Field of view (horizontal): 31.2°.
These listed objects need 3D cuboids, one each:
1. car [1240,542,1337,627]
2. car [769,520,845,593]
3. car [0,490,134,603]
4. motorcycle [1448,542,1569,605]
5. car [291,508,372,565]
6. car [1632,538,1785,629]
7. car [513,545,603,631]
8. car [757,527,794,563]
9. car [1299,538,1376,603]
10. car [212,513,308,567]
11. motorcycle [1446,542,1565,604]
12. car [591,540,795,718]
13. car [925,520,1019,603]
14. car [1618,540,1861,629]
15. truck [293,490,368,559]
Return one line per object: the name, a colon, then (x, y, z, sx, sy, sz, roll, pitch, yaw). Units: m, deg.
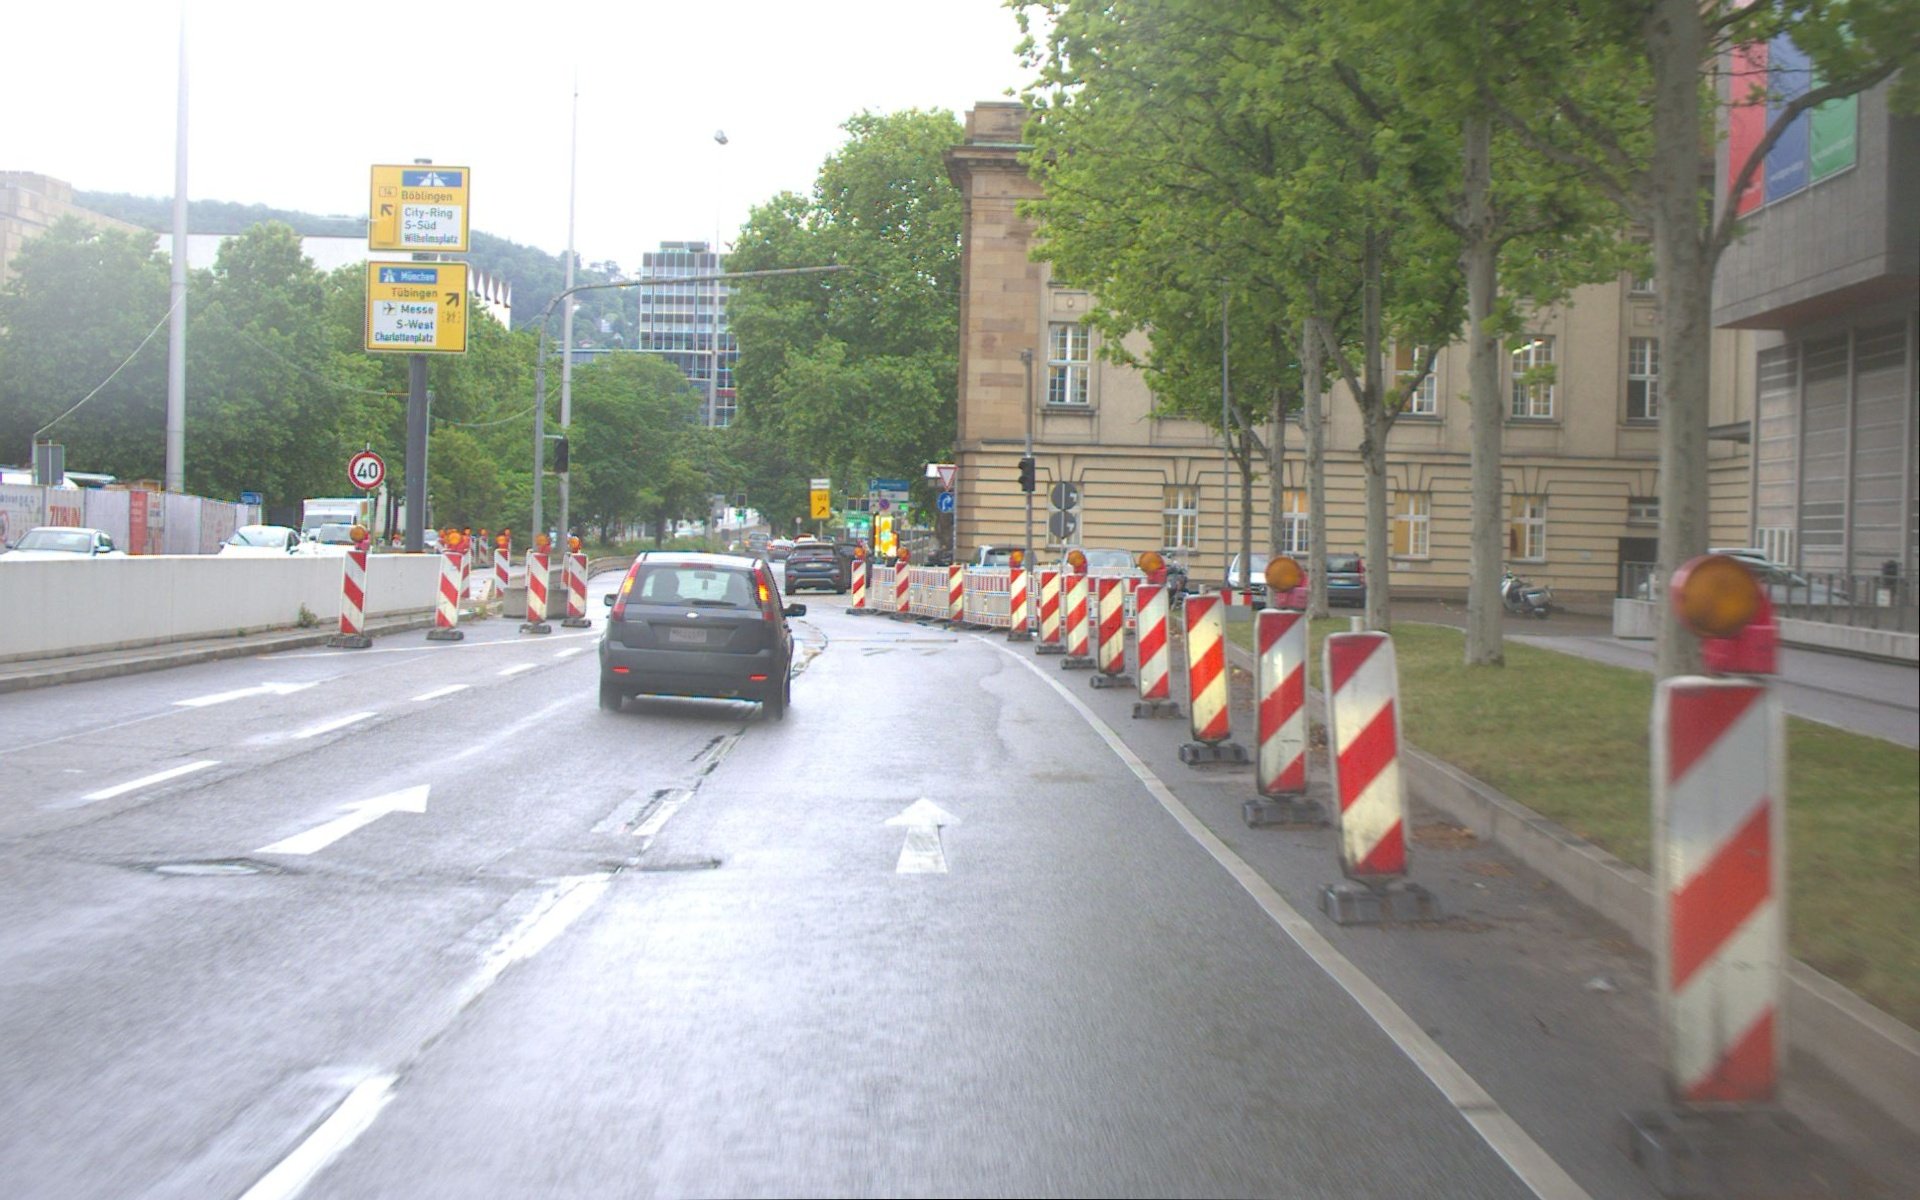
car: (7.334, -0.372, 77.141, 1.994, 1.702, 4.000, 3, 2, 4)
car: (-4.496, -1.304, 101.508, 1.993, 2.006, 4.001, 3, 2, -1)
car: (-17.394, -1.047, 66.138, 1.993, 2.007, 4.000, 3, 1, -1)
motorcycle: (15.224, -0.725, 95.425, 3.161, 1.538, 0.889, 4, -1, 3)
car: (-18.321, -1.867, 100.348, 1.668, 1.516, 4.001, 4, 2, -2)
car: (15.294, -0.321, 70.521, 1.993, 1.754, 5.096, 1, 0, 0)
car: (-6.725, -0.216, 57.708, 1.385, 1.382, 3.068, 1, 1, -5)
car: (-11.361, -3.355, 211.226, 1.993, 2.007, 4.001, 4, -1, -5)
car: (10.820, -0.826, 98.751, 1.994, 1.703, 3.999, 3, 0, 4)
car: (-16.920, -1.458, 83.210, 1.626, 1.191, 3.405, 3, 1, -1)
motorcycle: (15.290, -0.751, 96.451, 3.162, 1.538, 0.889, 4, -1, 4)
car: (-2.406, 0.226, 31.569, 1.670, 1.422, 3.758, 4, 1, -3)
car: (0.252, -0.891, 78.146, 1.993, 1.702, 4.001, 3, 2, -1)
car: (14.147, -0.261, 62.578, 3.987, 1.554, 1.933, 0, -2, 0)
truck: (-24.008, -2.851, 131.237, 2.412, 2.331, 5.445, 4, -1, -7)
